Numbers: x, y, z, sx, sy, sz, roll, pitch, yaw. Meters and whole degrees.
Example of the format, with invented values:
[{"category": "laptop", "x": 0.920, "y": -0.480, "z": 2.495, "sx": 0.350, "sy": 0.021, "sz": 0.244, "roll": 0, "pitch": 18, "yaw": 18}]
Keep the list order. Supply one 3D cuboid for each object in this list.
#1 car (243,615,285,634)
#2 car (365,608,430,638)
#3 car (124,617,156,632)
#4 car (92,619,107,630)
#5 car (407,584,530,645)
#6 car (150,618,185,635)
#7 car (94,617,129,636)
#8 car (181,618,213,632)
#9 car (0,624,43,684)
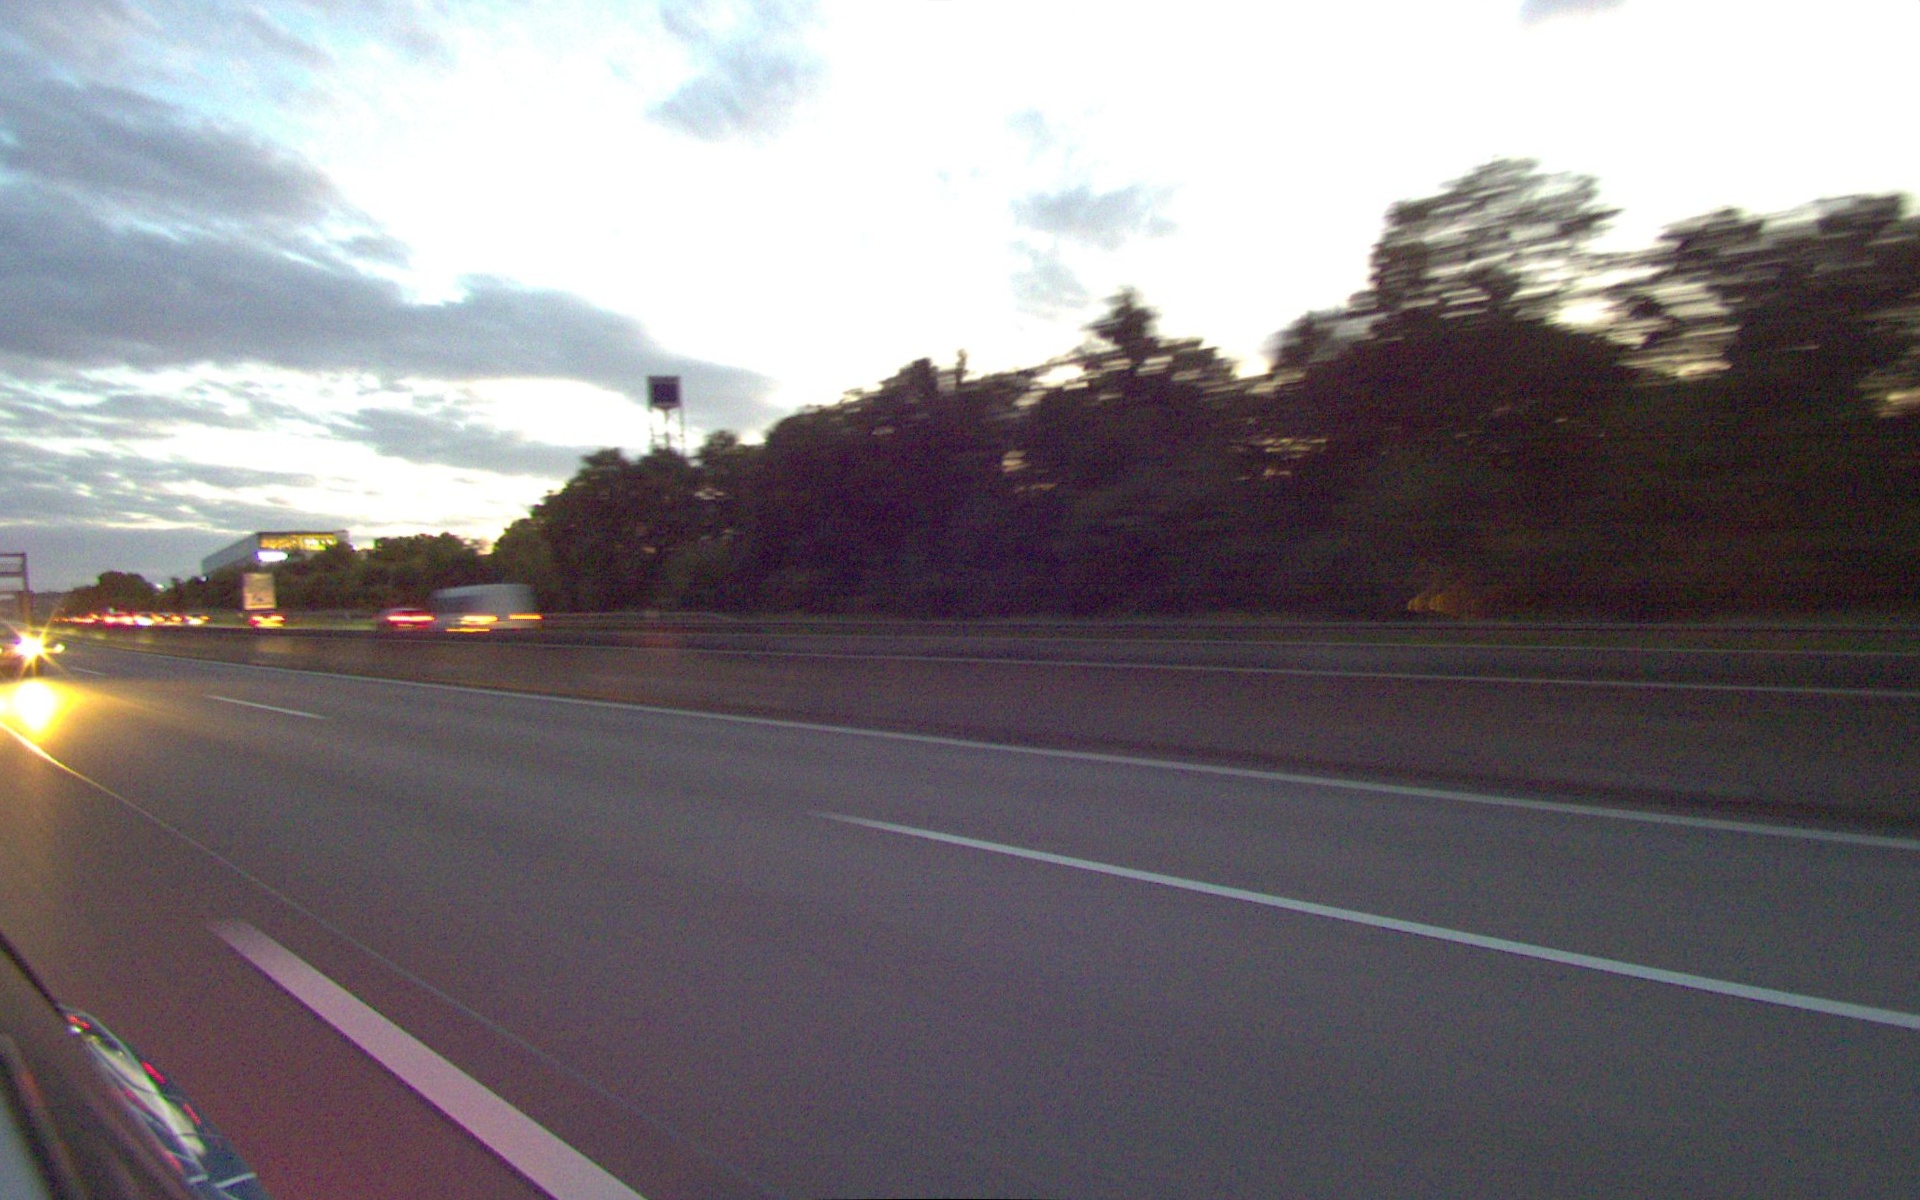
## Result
[{"category": "car", "x": -57.868, "y": 2.017, "z": 84.139, "sx": 4.237, "sy": 1.471, "sz": 1.972, "roll": -1, "pitch": 0, "yaw": 43}, {"category": "car", "x": -34.139, "y": 1.359, "z": 61.331, "sx": 4.969, "sy": 1.706, "sz": 1.972, "roll": -1, "pitch": 0, "yaw": 42}, {"category": "car", "x": -87.495, "y": 2.645, "z": 108.006, "sx": 5.023, "sy": 1.484, "sz": 1.972, "roll": -1, "pitch": 0, "yaw": 43}, {"category": "car", "x": -157.433, "y": 4.457, "z": 185.093, "sx": 1.768, "sy": 1.823, "sz": 4.584, "roll": -1, "pitch": 0, "yaw": -45}, {"category": "car", "x": -21.410, "y": 0.607, "z": 43.880, "sx": 7.093, "sy": 2.450, "sz": 2.301, "roll": -1, "pitch": 0, "yaw": 42}, {"category": "car", "x": -75.528, "y": 2.527, "z": 96.410, "sx": 4.558, "sy": 1.516, "sz": 1.972, "roll": -1, "pitch": 0, "yaw": 43}, {"category": "car", "x": -82.736, "y": 2.519, "z": 98.660, "sx": 5.051, "sy": 1.748, "sz": 1.972, "roll": -1, "pitch": 0, "yaw": 43}, {"category": "car", "x": -82.442, "y": 2.668, "z": 109.314, "sx": 5.023, "sy": 1.412, "sz": 1.972, "roll": -1, "pitch": 0, "yaw": 43}, {"category": "car", "x": -25.926, "y": 1.418, "z": 26.981, "sx": 3.997, "sy": 1.491, "sz": 1.695, "roll": -1, "pitch": 0, "yaw": 41}]
